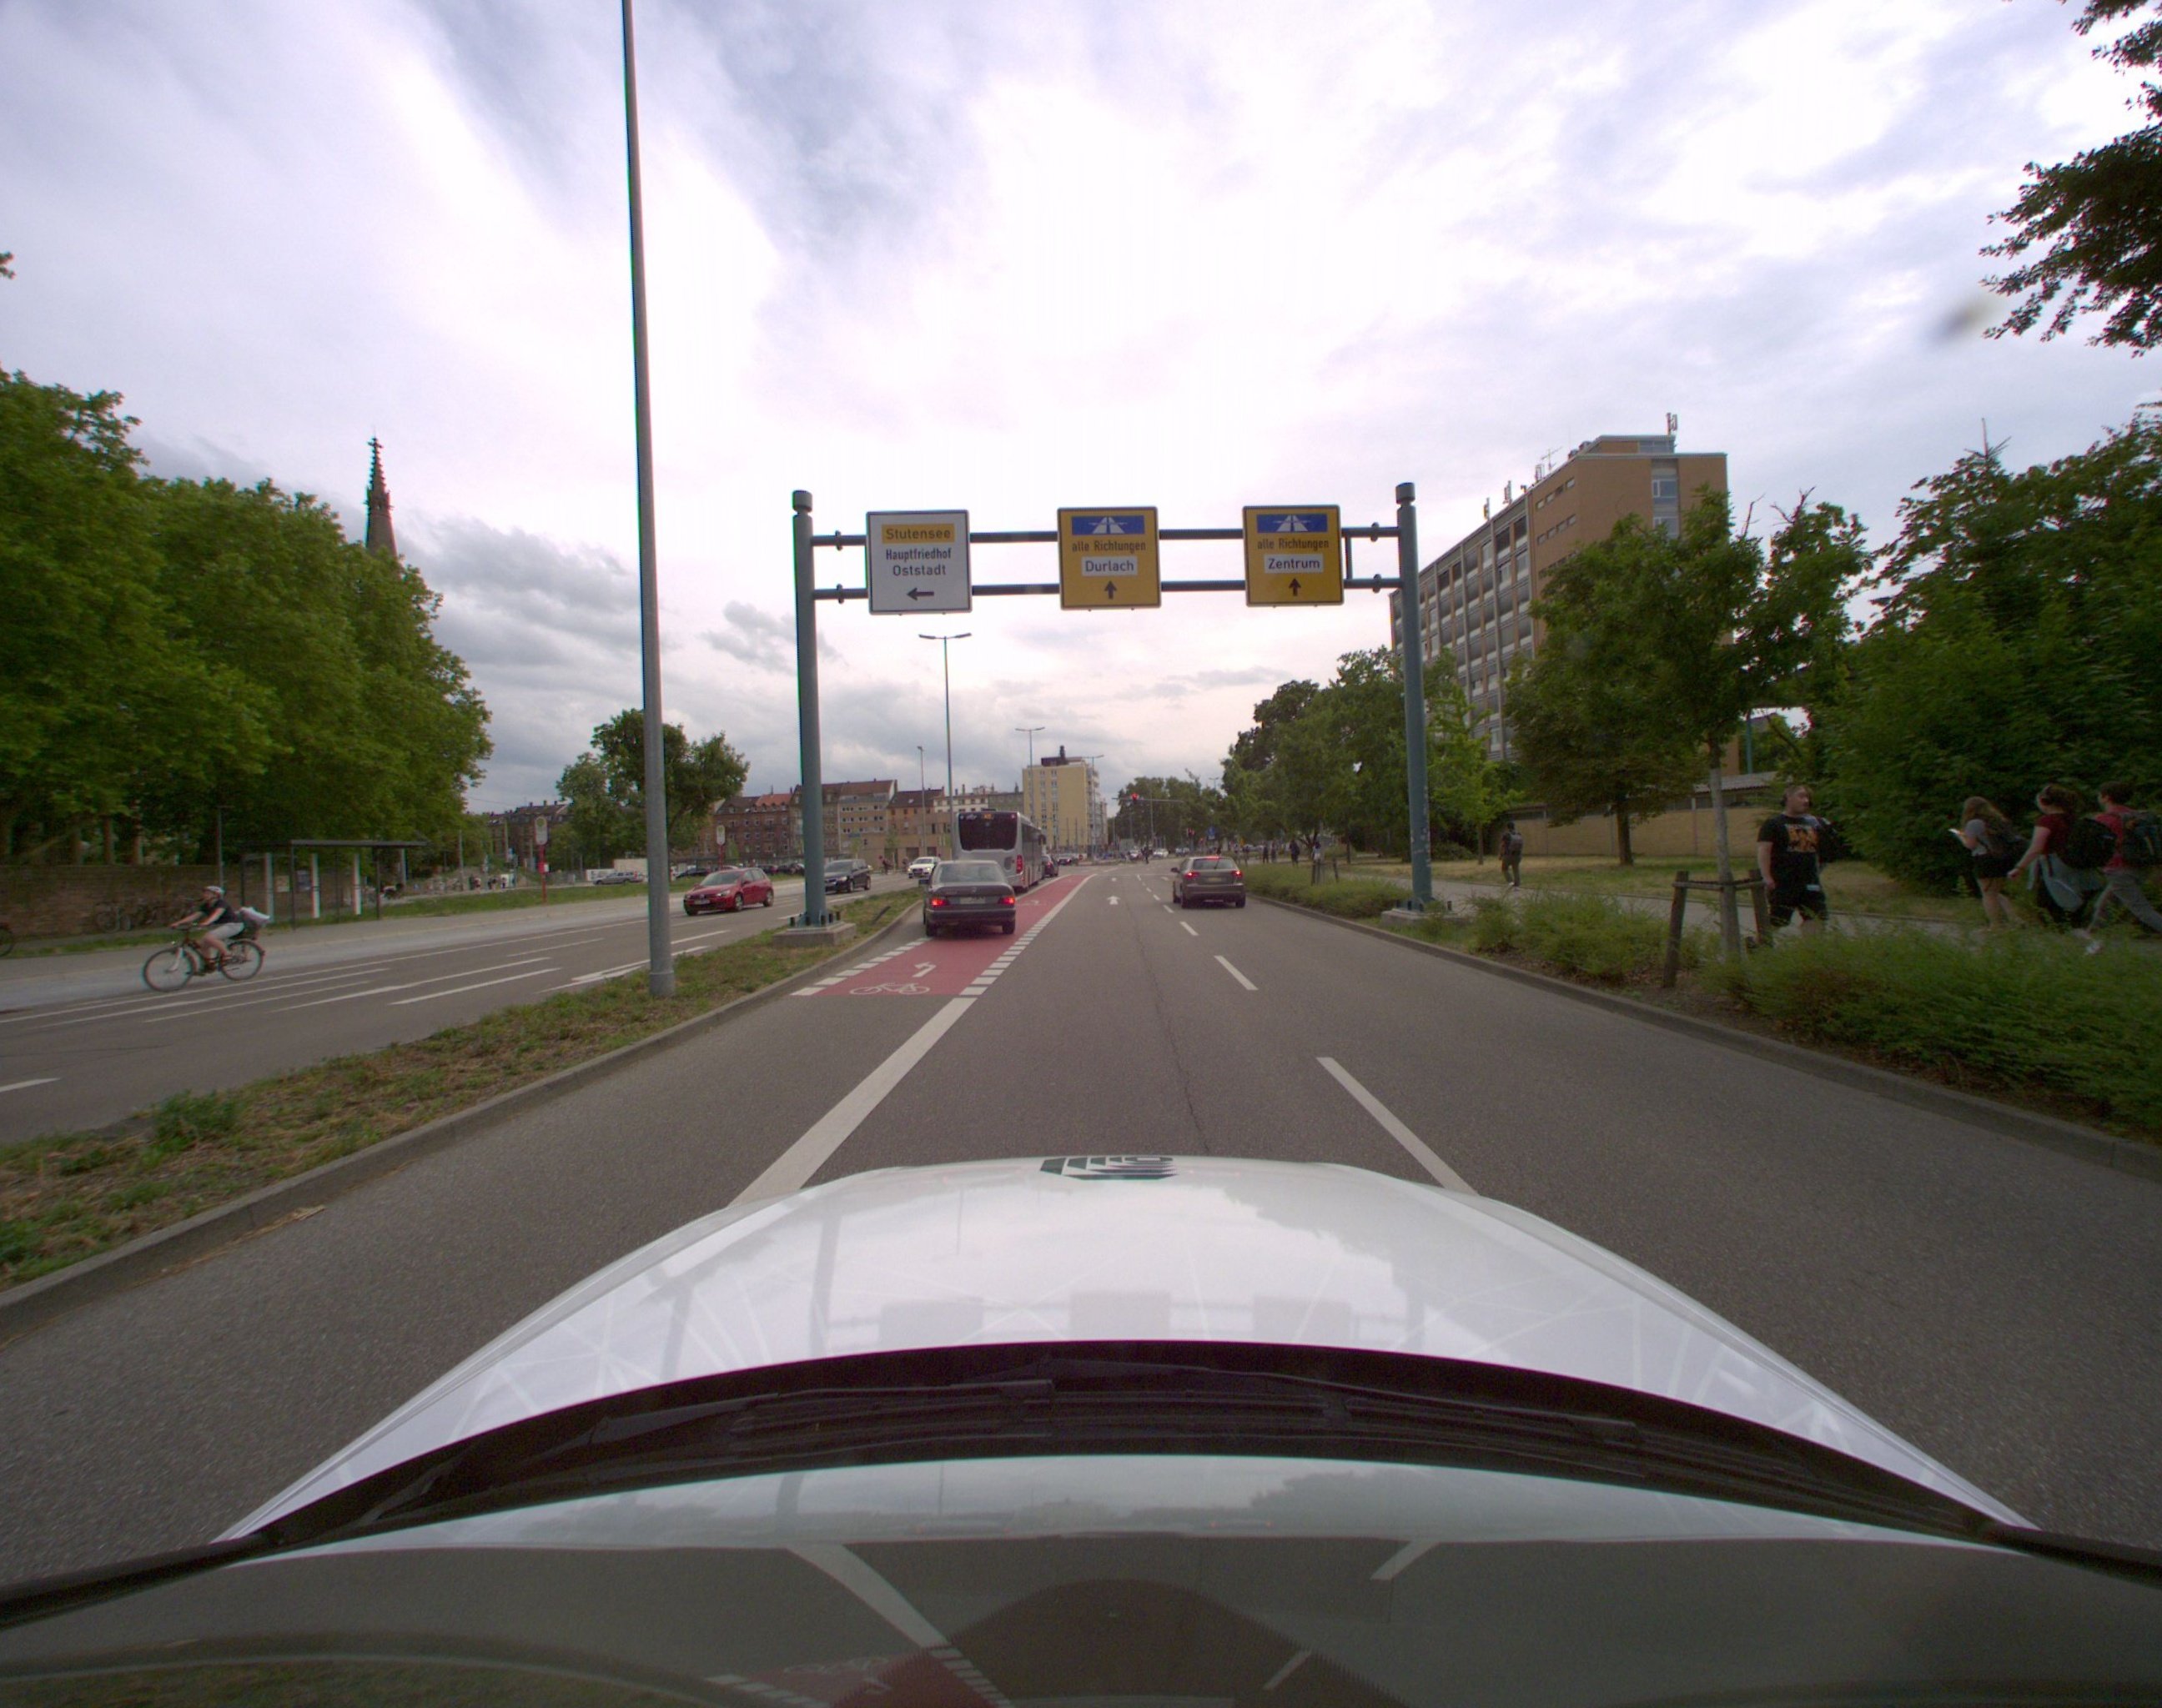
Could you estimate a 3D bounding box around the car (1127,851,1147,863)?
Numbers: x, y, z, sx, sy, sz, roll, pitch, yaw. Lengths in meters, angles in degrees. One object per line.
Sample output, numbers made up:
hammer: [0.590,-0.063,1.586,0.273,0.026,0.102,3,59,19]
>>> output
car: [8.681,0.421,125.772,1.977,1.703,4.019,-2,0,18]

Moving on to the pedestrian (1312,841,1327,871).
pedestrian: [12.221,0.100,41.792,0.652,1.470,0.564,-3,0,18]

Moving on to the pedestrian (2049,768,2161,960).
pedestrian: [10.008,0.083,7.861,0.482,1.763,0.664,-3,0,2]

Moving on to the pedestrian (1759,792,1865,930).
pedestrian: [9.610,0.087,10.732,0.616,1.735,0.815,-3,0,2]

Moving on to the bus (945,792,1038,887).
bus: [-3.493,-0.557,33.907,2.822,3.390,8.182,-2,0,0]

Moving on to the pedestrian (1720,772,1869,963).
pedestrian: [7.289,0.133,8.384,0.925,1.830,0.892,-2,0,29]

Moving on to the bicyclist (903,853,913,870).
bicyclist: [-16.401,0.708,77.270,0.784,1.643,0.613,-3,0,-1]

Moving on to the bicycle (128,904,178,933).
bicycle: [-32.887,2.260,28.891,0.483,0.907,1.608,0,-1,-22]

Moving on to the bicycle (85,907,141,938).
bicycle: [-31.964,2.240,26.914,0.483,0.907,1.608,0,-1,-22]

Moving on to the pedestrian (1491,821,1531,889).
pedestrian: [11.065,0.023,20.963,0.585,1.682,0.749,-3,0,2]

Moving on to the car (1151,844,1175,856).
car: [15.209,-0.729,150.843,2.560,2.109,5.633,-2,0,25]

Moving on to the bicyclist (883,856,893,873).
bicyclist: [-18.346,0.995,77.522,0.784,1.643,0.572,-3,0,-1]

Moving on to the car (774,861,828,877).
car: [-27.313,1.444,79.432,4.659,1.475,1.658,-1,0,-4]

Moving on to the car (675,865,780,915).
car: [-12.308,1.201,28.655,1.796,1.489,4.287,-2,0,-1]

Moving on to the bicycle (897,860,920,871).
bicycle: [-16.354,1.116,77.267,1.958,0.982,0.631,-3,0,-2]

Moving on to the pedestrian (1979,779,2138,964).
pedestrian: [9.273,0.154,7.758,0.553,1.655,0.754,-3,0,2]

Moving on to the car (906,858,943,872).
car: [-16.642,1.205,86.702,3.683,1.394,1.575,-1,0,-19]

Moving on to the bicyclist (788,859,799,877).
bicyclist: [-27.147,1.357,76.885,0.785,1.643,0.572,-3,0,-4]

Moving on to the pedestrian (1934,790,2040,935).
pedestrian: [10.637,0.097,9.580,0.466,1.633,0.653,-3,0,2]

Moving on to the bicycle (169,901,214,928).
bicycle: [-33.579,2.276,30.762,0.483,0.907,1.608,0,-1,-22]

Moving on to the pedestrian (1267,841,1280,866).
pedestrian: [13.401,-0.060,56.666,0.796,1.713,0.768,-3,0,14]

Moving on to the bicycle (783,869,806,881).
bicycle: [-27.053,1.985,76.913,1.960,0.982,0.630,-3,0,-4]

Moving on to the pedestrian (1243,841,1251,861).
pedestrian: [17.008,-0.348,83.451,0.612,2.013,0.597,-2,0,0]

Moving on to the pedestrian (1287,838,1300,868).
pedestrian: [12.422,-0.044,47.556,0.641,1.713,0.564,-3,0,16]

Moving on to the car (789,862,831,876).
car: [-27.840,1.540,83.841,3.755,1.394,1.583,-1,0,-4]

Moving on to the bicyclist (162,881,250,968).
bicyclist: [-15.199,1.206,14.167,0.578,1.419,0.811,-2,0,0]

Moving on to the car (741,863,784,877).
car: [-32.797,1.632,83.873,3.755,1.394,1.583,-1,0,-4]

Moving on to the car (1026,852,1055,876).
car: [-2.574,0.613,52.729,1.650,1.396,3.859,-2,0,-1]

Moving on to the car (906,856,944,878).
car: [-10.809,0.885,56.807,1.664,1.389,3.925,-3,0,2]

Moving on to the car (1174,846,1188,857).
car: [19.781,-0.513,160.826,1.791,1.850,4.022,-3,0,22]

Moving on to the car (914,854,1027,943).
car: [-2.360,0.786,16.480,1.764,1.489,4.150,-2,0,-15]

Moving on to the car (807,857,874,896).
car: [-11.731,1.045,40.005,1.795,1.665,4.302,-4,0,1]

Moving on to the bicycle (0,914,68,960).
bicycle: [-23.485,1.834,17.397,0.467,0.918,2.345,-2,0,9]

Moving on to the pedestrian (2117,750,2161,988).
pedestrian: [8.591,0.104,5.981,0.690,1.821,0.955,-3,0,2]

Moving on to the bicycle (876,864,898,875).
bicycle: [-18.469,1.495,77.499,1.958,0.982,0.631,-3,0,0]

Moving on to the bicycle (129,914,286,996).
bicycle: [-15.200,1.719,14.258,0.579,1.170,1.964,-2,0,1]

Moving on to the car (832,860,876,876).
car: [-22.266,1.356,79.920,3.848,1.517,1.658,-1,0,-4]

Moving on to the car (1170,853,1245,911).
car: [3.576,0.733,23.574,1.717,1.457,3.739,-2,0,3]

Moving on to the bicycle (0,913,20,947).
bicycle: [-30.339,2.151,22.469,0.482,0.907,1.609,-3,0,-21]

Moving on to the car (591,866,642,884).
car: [-47.687,2.145,83.684,4.146,1.649,1.644,-3,0,-5]

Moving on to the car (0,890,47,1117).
car: [-7.881,1.037,3.352,1.799,1.489,4.397,-2,0,-6]
